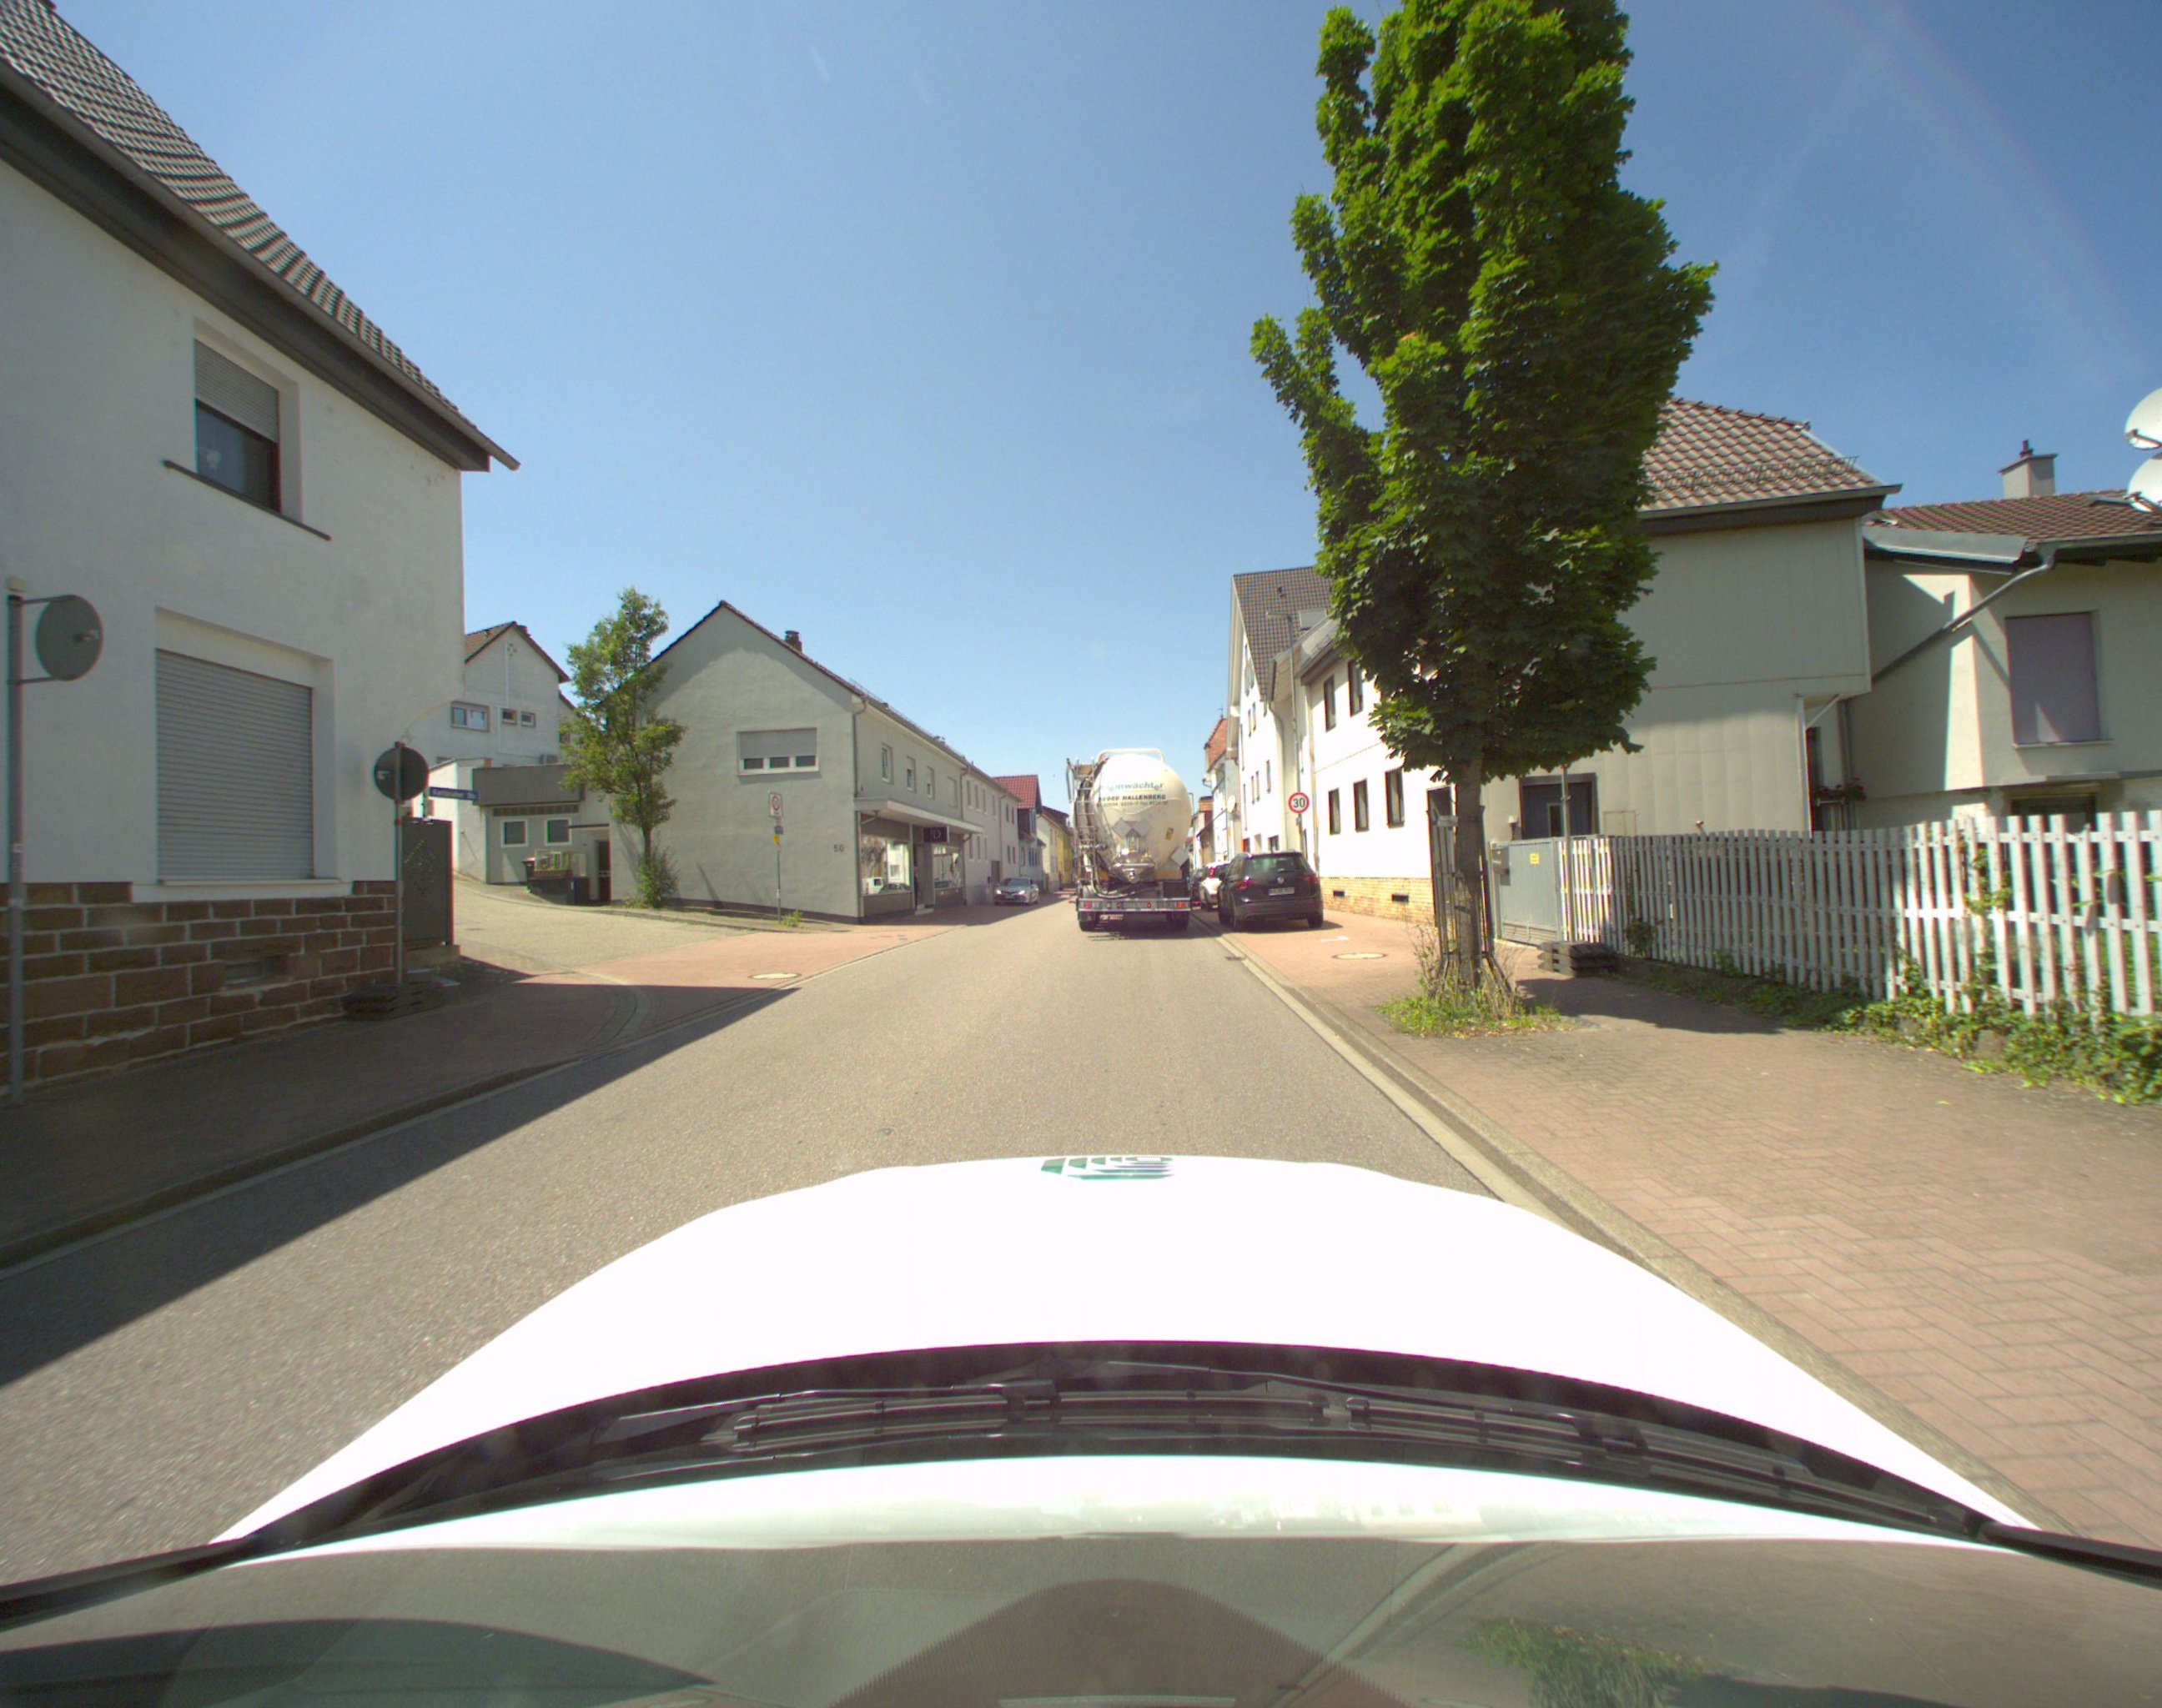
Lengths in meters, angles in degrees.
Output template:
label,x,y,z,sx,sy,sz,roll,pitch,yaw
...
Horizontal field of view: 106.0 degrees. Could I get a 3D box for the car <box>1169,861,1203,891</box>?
label,x,y,z,sx,sy,sz,roll,pitch,yaw
car,7.433,1.562,58.011,1.938,1.970,4.787,-3,-2,2

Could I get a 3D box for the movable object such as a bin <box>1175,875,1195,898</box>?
label,x,y,z,sx,sy,sz,roll,pitch,yaw
movable object such as a bin,5.207,1.634,40.706,0.716,1.073,0.977,-5,-2,20

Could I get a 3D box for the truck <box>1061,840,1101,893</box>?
label,x,y,z,sx,sy,sz,roll,pitch,yaw
truck,0.067,1.048,67.017,2.607,3.986,6.857,-4,-2,3

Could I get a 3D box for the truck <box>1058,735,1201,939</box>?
label,x,y,z,sx,sy,sz,roll,pitch,yaw
truck,1.233,-0.227,20.120,2.720,3.960,8.149,-1,-2,4

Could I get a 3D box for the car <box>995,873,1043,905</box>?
label,x,y,z,sx,sy,sz,roll,pitch,yaw
car,-3.158,1.802,42.310,1.800,1.557,4.569,0,-2,4

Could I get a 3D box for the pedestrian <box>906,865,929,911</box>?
label,x,y,z,sx,sy,sz,roll,pitch,yaw
pedestrian,-6.214,1.291,30.948,0.622,1.685,0.771,-2,-2,3

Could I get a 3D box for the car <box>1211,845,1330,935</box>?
label,x,y,z,sx,sy,sz,roll,pitch,yaw
car,4.046,0.730,18.136,1.794,1.614,4.553,-4,-1,4

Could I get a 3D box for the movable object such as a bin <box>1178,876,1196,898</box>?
label,x,y,z,sx,sy,sz,roll,pitch,yaw
movable object such as a bin,5.196,1.626,39.998,0.650,1.035,0.687,-5,-2,19

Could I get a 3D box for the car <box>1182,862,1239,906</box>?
label,x,y,z,sx,sy,sz,roll,pitch,yaw
car,5.019,1.167,32.075,1.693,1.447,4.841,-5,-2,4

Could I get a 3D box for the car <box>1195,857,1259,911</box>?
label,x,y,z,sx,sy,sz,roll,pitch,yaw
car,4.726,0.958,26.786,1.599,1.522,3.548,-5,-2,4
